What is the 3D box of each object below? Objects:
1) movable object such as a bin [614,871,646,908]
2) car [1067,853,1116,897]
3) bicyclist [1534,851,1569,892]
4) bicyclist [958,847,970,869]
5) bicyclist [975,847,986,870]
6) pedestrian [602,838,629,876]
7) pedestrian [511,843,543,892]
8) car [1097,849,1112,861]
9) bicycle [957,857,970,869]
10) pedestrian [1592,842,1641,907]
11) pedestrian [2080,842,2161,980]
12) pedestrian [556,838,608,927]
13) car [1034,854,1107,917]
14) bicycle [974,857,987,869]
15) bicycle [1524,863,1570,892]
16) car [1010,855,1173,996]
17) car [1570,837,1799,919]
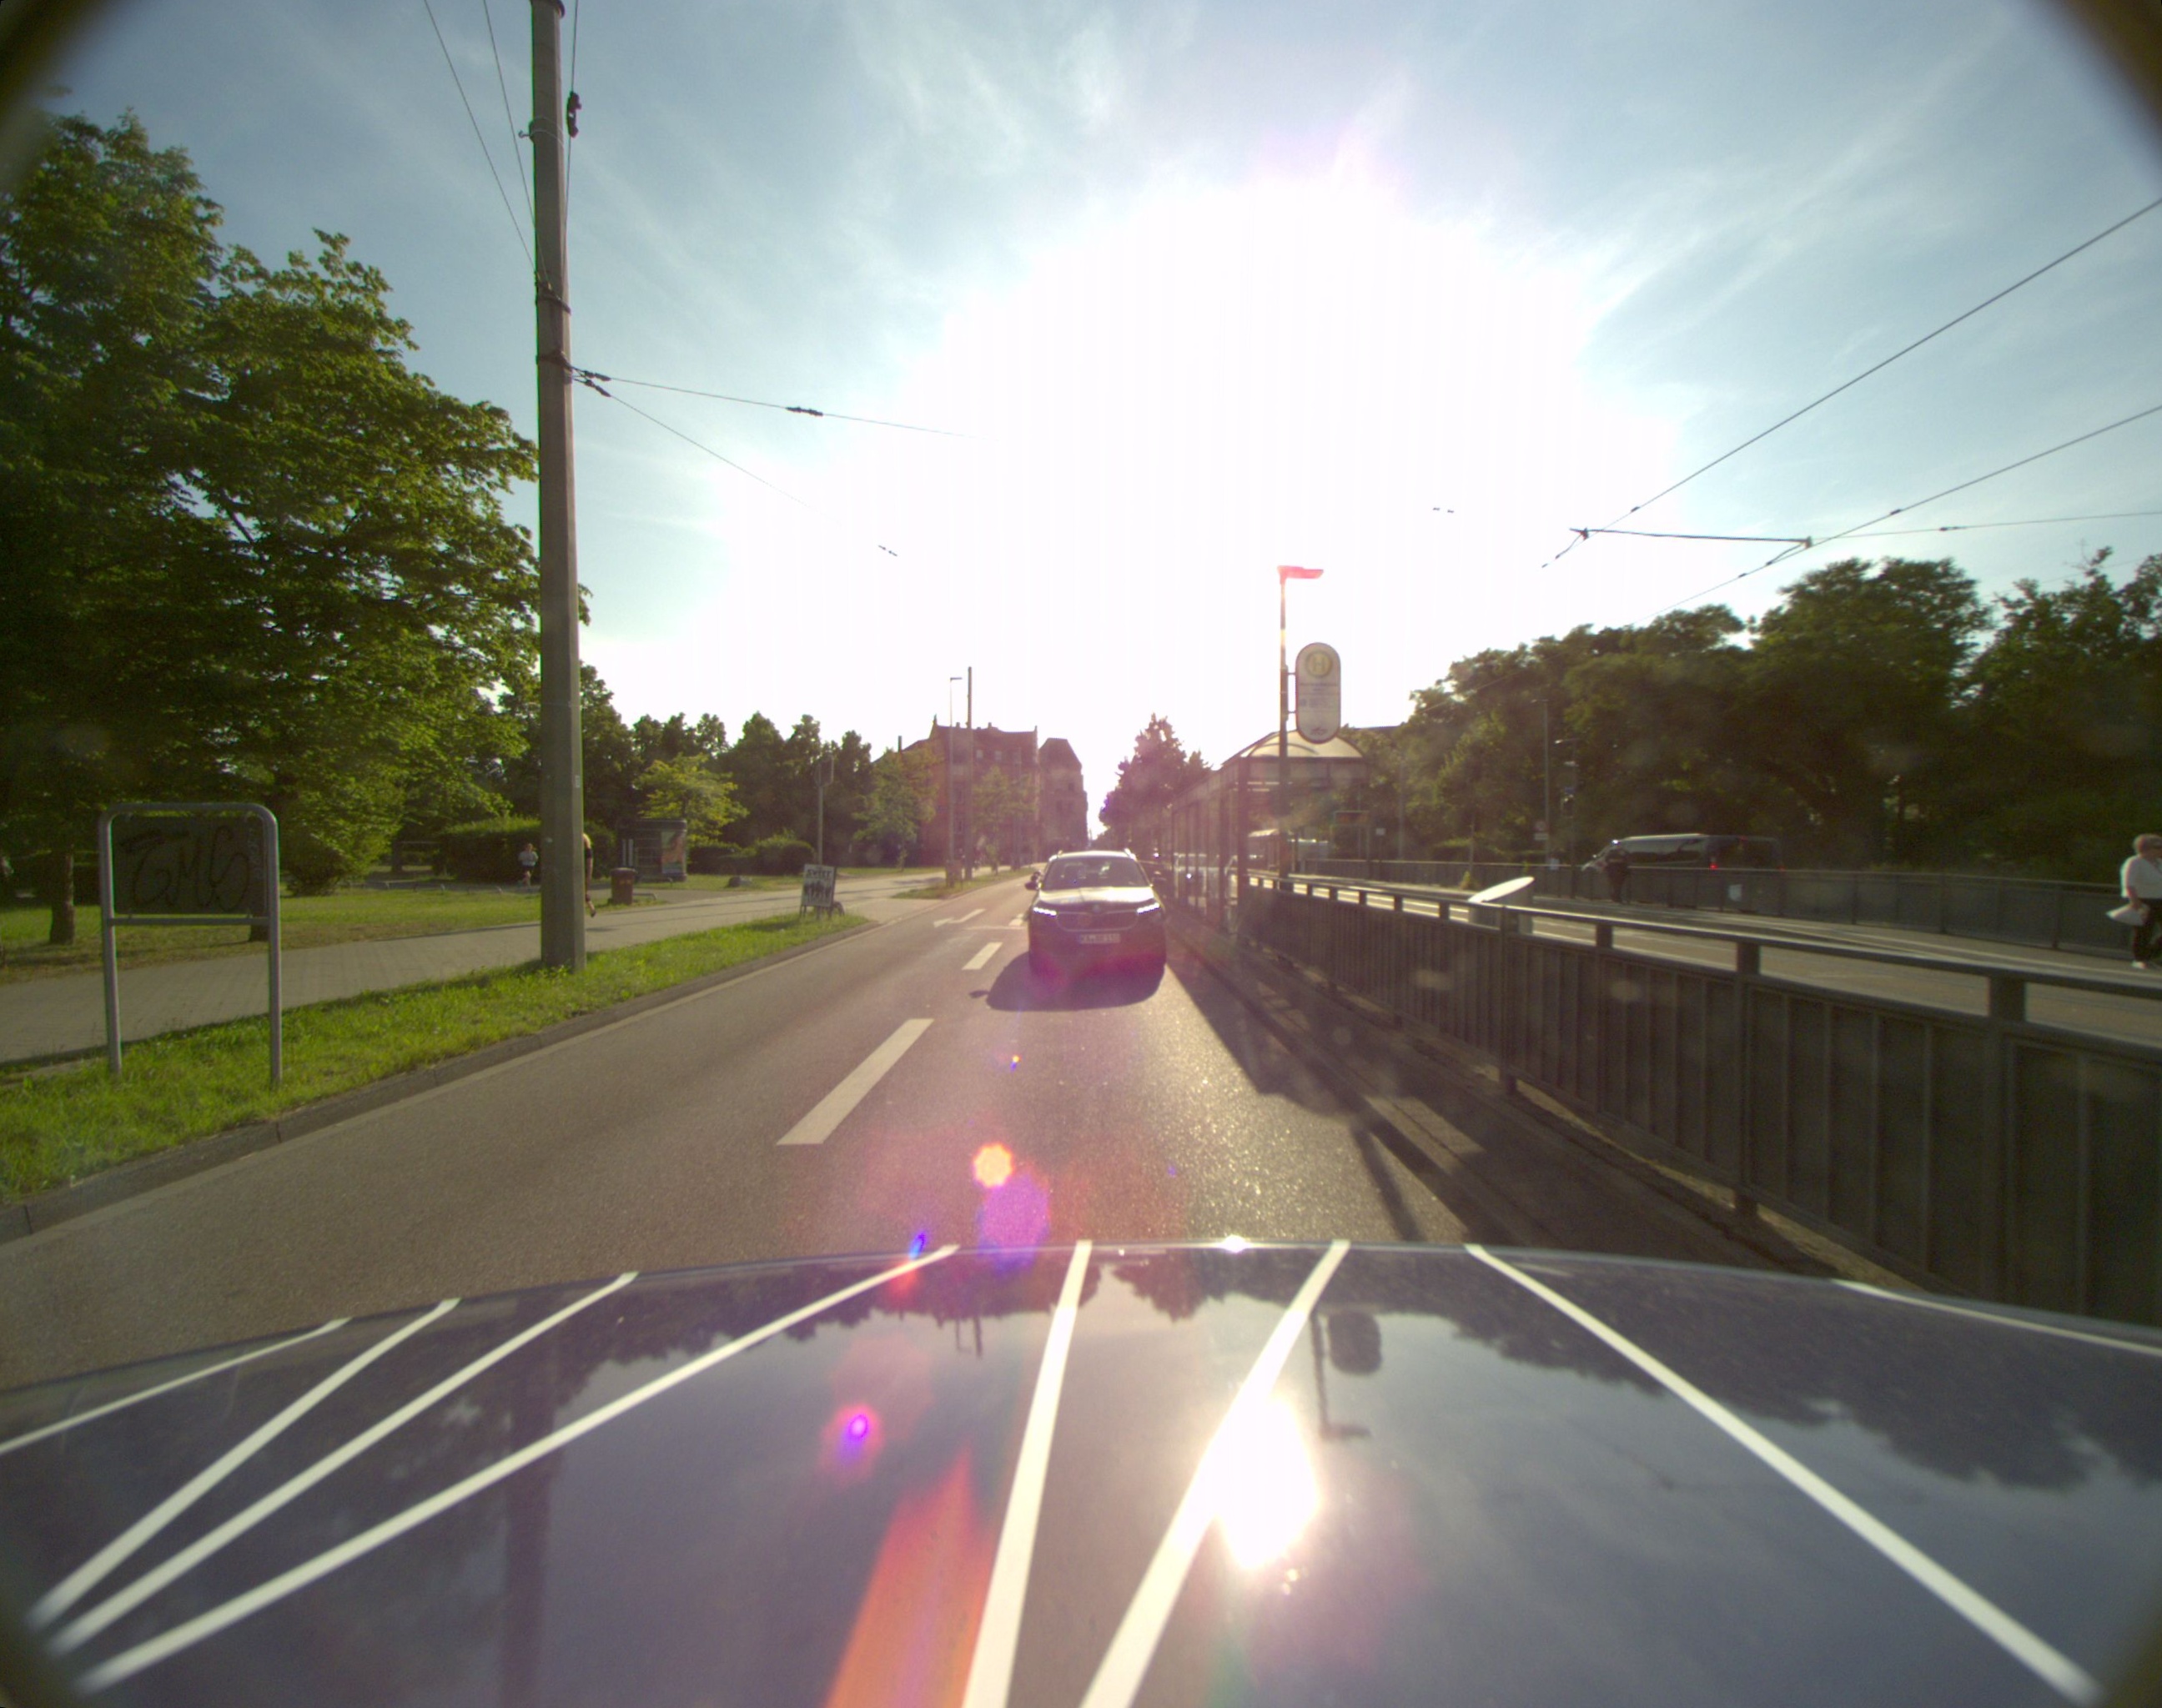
[{"bbox_3d":[-11.192,0.873,18.860,0.502,0.898,0.526,1,1,39],"label":"movable object such as a bin"},{"bbox_3d":[0.387,0.727,28.357,1.672,1.496,3.871,0,0,1],"label":"car"},{"bbox_3d":[19.040,0.694,30.784,0.706,1.614,1.072,-3,0,3],"label":"bicyclist"},{"bbox_3d":[-9.234,0.304,60.038,0.754,1.763,1.118,0,1,-1],"label":"bicyclist"},{"bbox_3d":[-7.906,0.347,59.906,0.730,1.763,1.015,0,1,-1],"label":"bicyclist"},{"bbox_3d":[-26.258,0.156,42.904,0.910,2.145,0.891,0,1,13],"label":"pedestrian"},{"bbox_3d":[-18.834,0.451,25.852,0.660,1.642,0.623,0,1,25],"label":"pedestrian"},{"bbox_3d":[3.365,0.104,110.908,1.999,1.674,3.999,0,0,-1],"label":"car"},{"bbox_3d":[-9.239,0.697,59.994,0.740,0.912,2.094,0,1,-1],"label":"bicycle"},{"bbox_3d":[13.501,0.500,19.183,0.736,1.618,0.689,0,1,0],"label":"pedestrian"},{"bbox_3d":[13.004,0.668,9.248,0.708,1.618,0.727,0,1,0],"label":"pedestrian"},{"bbox_3d":[-9.725,0.547,14.834,0.558,1.691,0.662,0,1,0],"label":"pedestrian"},{"bbox_3d":[-0.237,0.755,20.427,1.781,1.496,4.000,0,0,1],"label":"car"},{"bbox_3d":[-7.898,0.708,59.888,0.740,0.912,2.094,0,1,0],"label":"bicycle"},{"bbox_3d":[19.046,0.946,31.104,0.727,1.103,1.865,-2,0,2],"label":"bicycle"},{"bbox_3d":[0.141,0.802,10.500,1.781,1.496,4.000,-2,0,1],"label":"car"},{"bbox_3d":[16.476,0.572,21.246,2.150,2.002,5.386,0,0,1],"label":"car"}]
